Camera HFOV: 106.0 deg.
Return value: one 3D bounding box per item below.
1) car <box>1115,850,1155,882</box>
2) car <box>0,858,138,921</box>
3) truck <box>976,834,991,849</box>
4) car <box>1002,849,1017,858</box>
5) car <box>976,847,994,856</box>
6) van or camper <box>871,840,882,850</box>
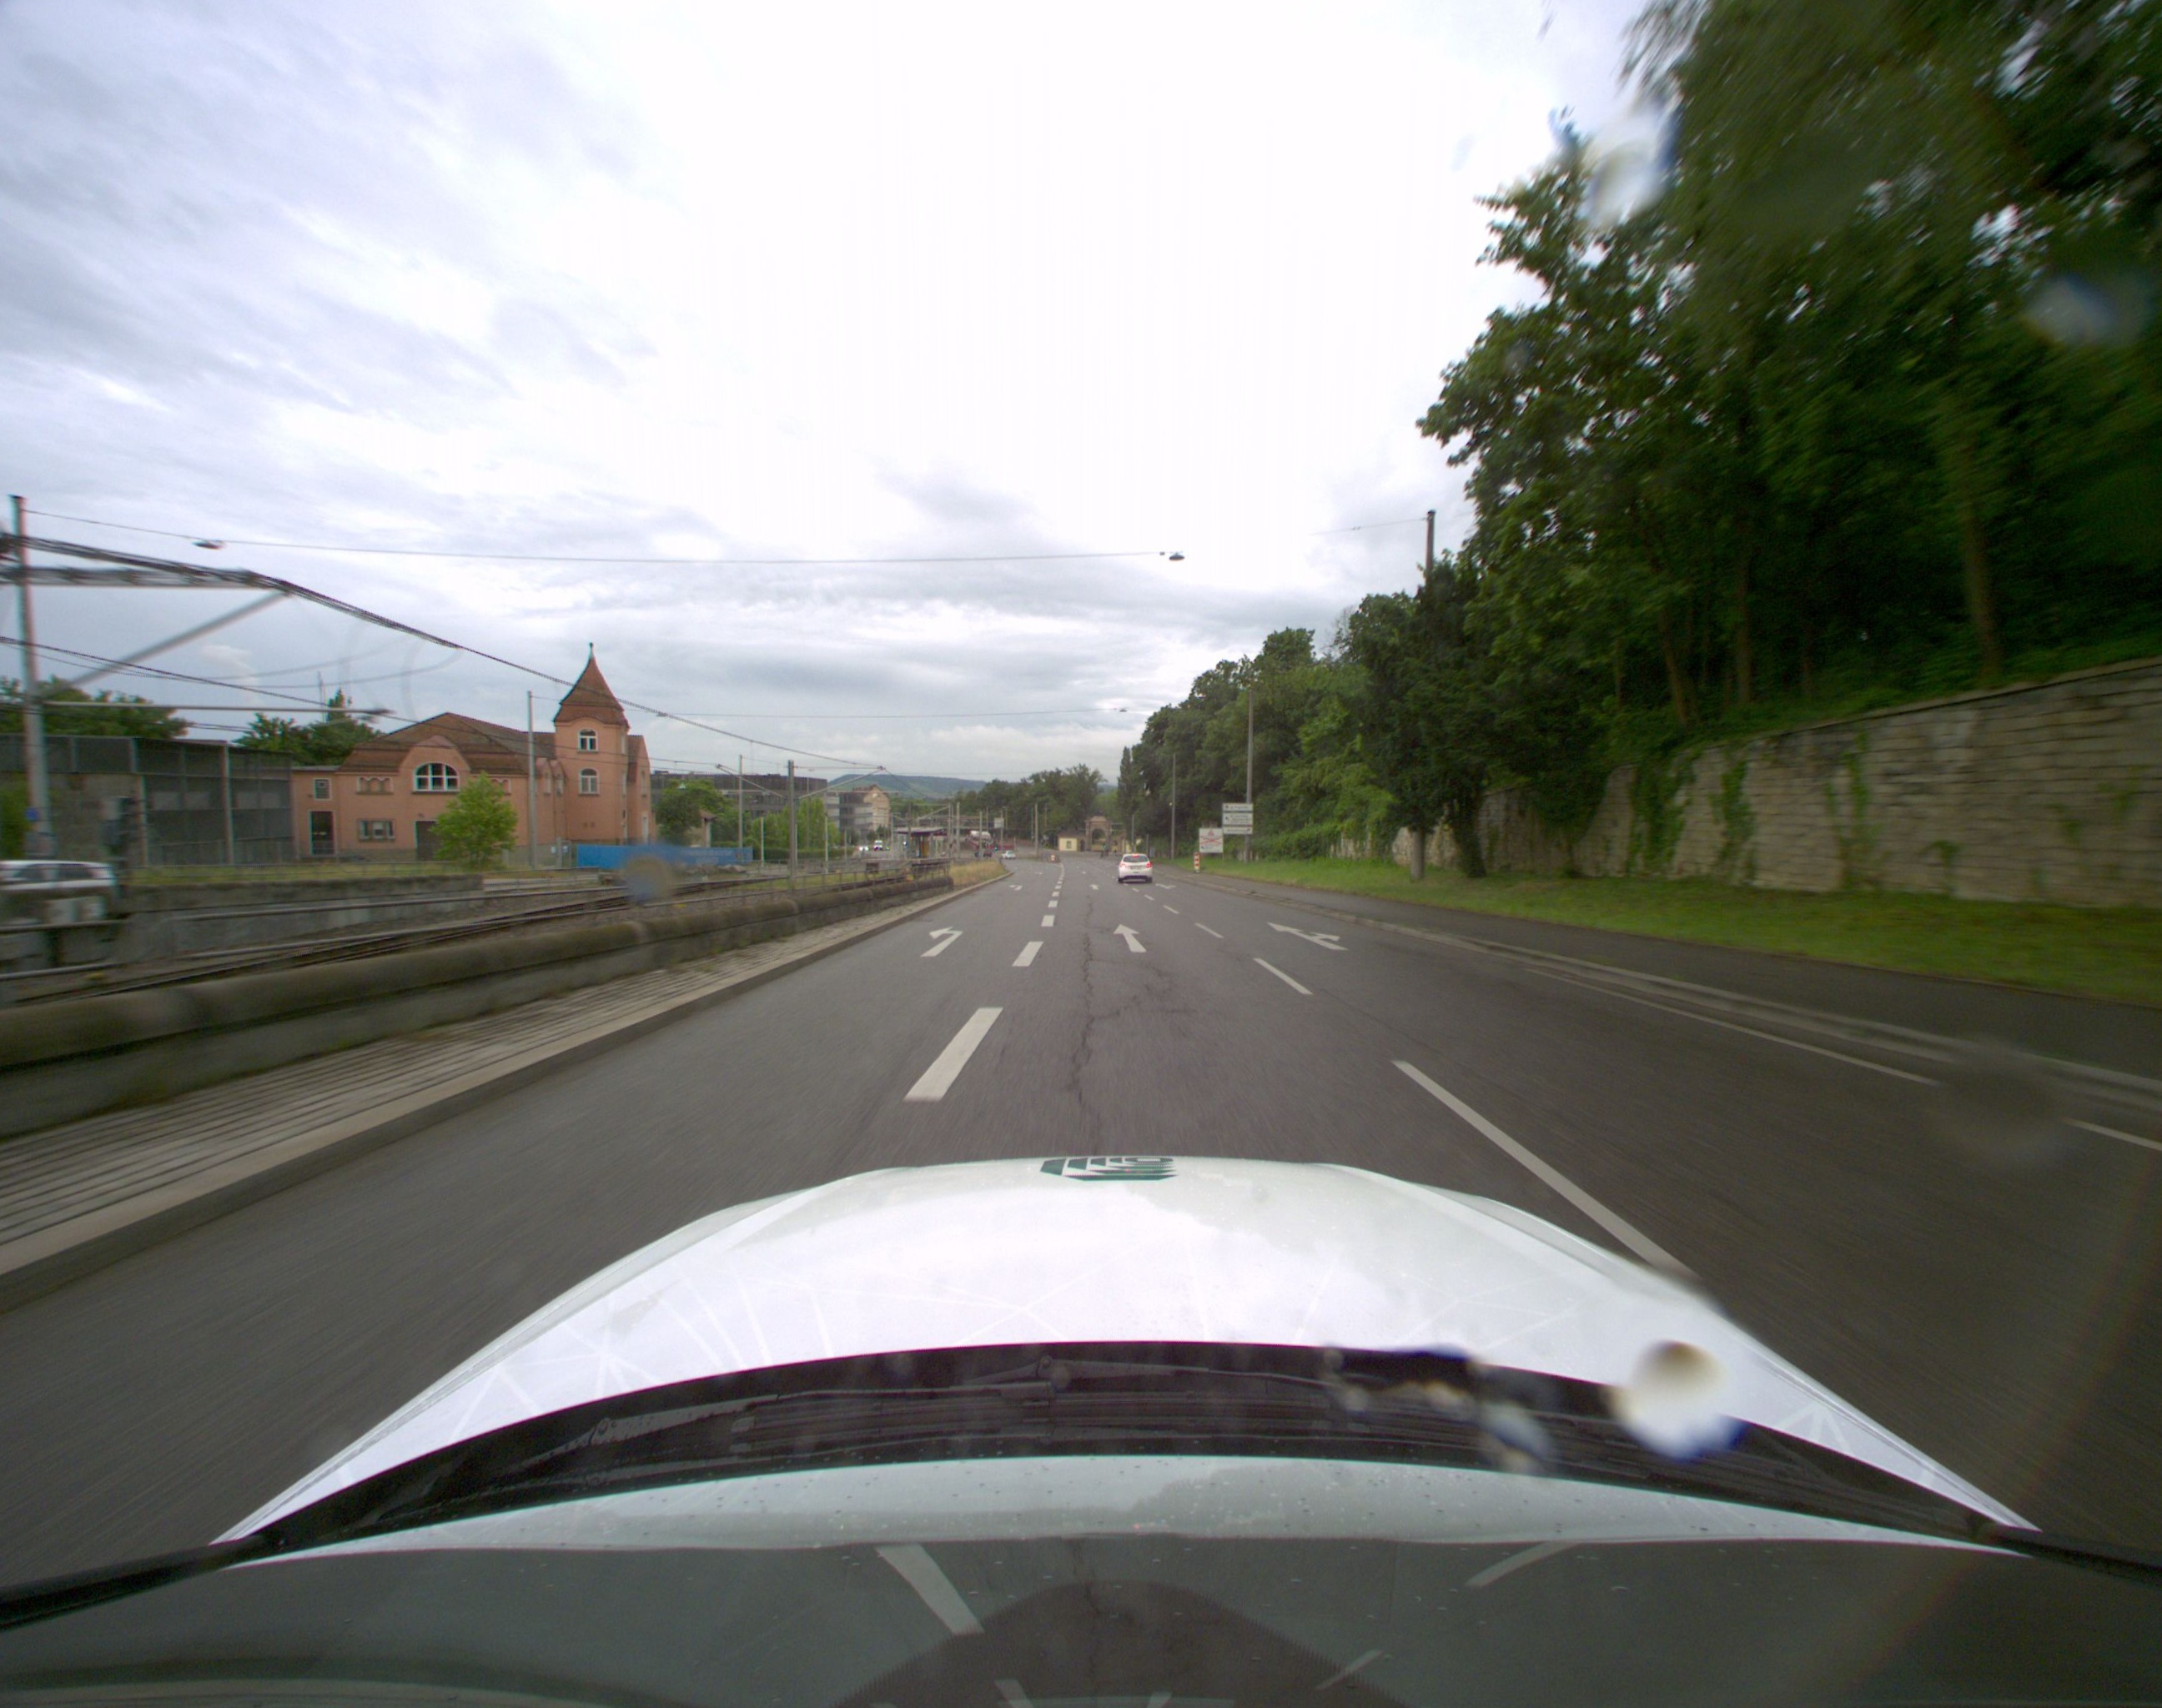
[{"bbox_3d":[2.737,0.597,42.016,1.862,1.511,3.900,-2,0,1],"label":"car"},{"bbox_3d":[-24.326,0.792,18.540,1.550,1.292,3.559,1,1,0],"label":"car"},{"bbox_3d":[-31.641,-4.083,263.743,3.419,4.570,11.233,3,0,-14],"label":"truck"},{"bbox_3d":[-13.074,-0.043,149.315,1.828,1.606,3.973,-2,0,-20],"label":"car"},{"bbox_3d":[-18.809,-0.418,159.880,2.007,1.706,3.960,0,0,-32],"label":"car"},{"bbox_3d":[-50.259,-2.278,200.220,1.993,2.344,3.988,-2,0,-9],"label":"van or camper"}]
